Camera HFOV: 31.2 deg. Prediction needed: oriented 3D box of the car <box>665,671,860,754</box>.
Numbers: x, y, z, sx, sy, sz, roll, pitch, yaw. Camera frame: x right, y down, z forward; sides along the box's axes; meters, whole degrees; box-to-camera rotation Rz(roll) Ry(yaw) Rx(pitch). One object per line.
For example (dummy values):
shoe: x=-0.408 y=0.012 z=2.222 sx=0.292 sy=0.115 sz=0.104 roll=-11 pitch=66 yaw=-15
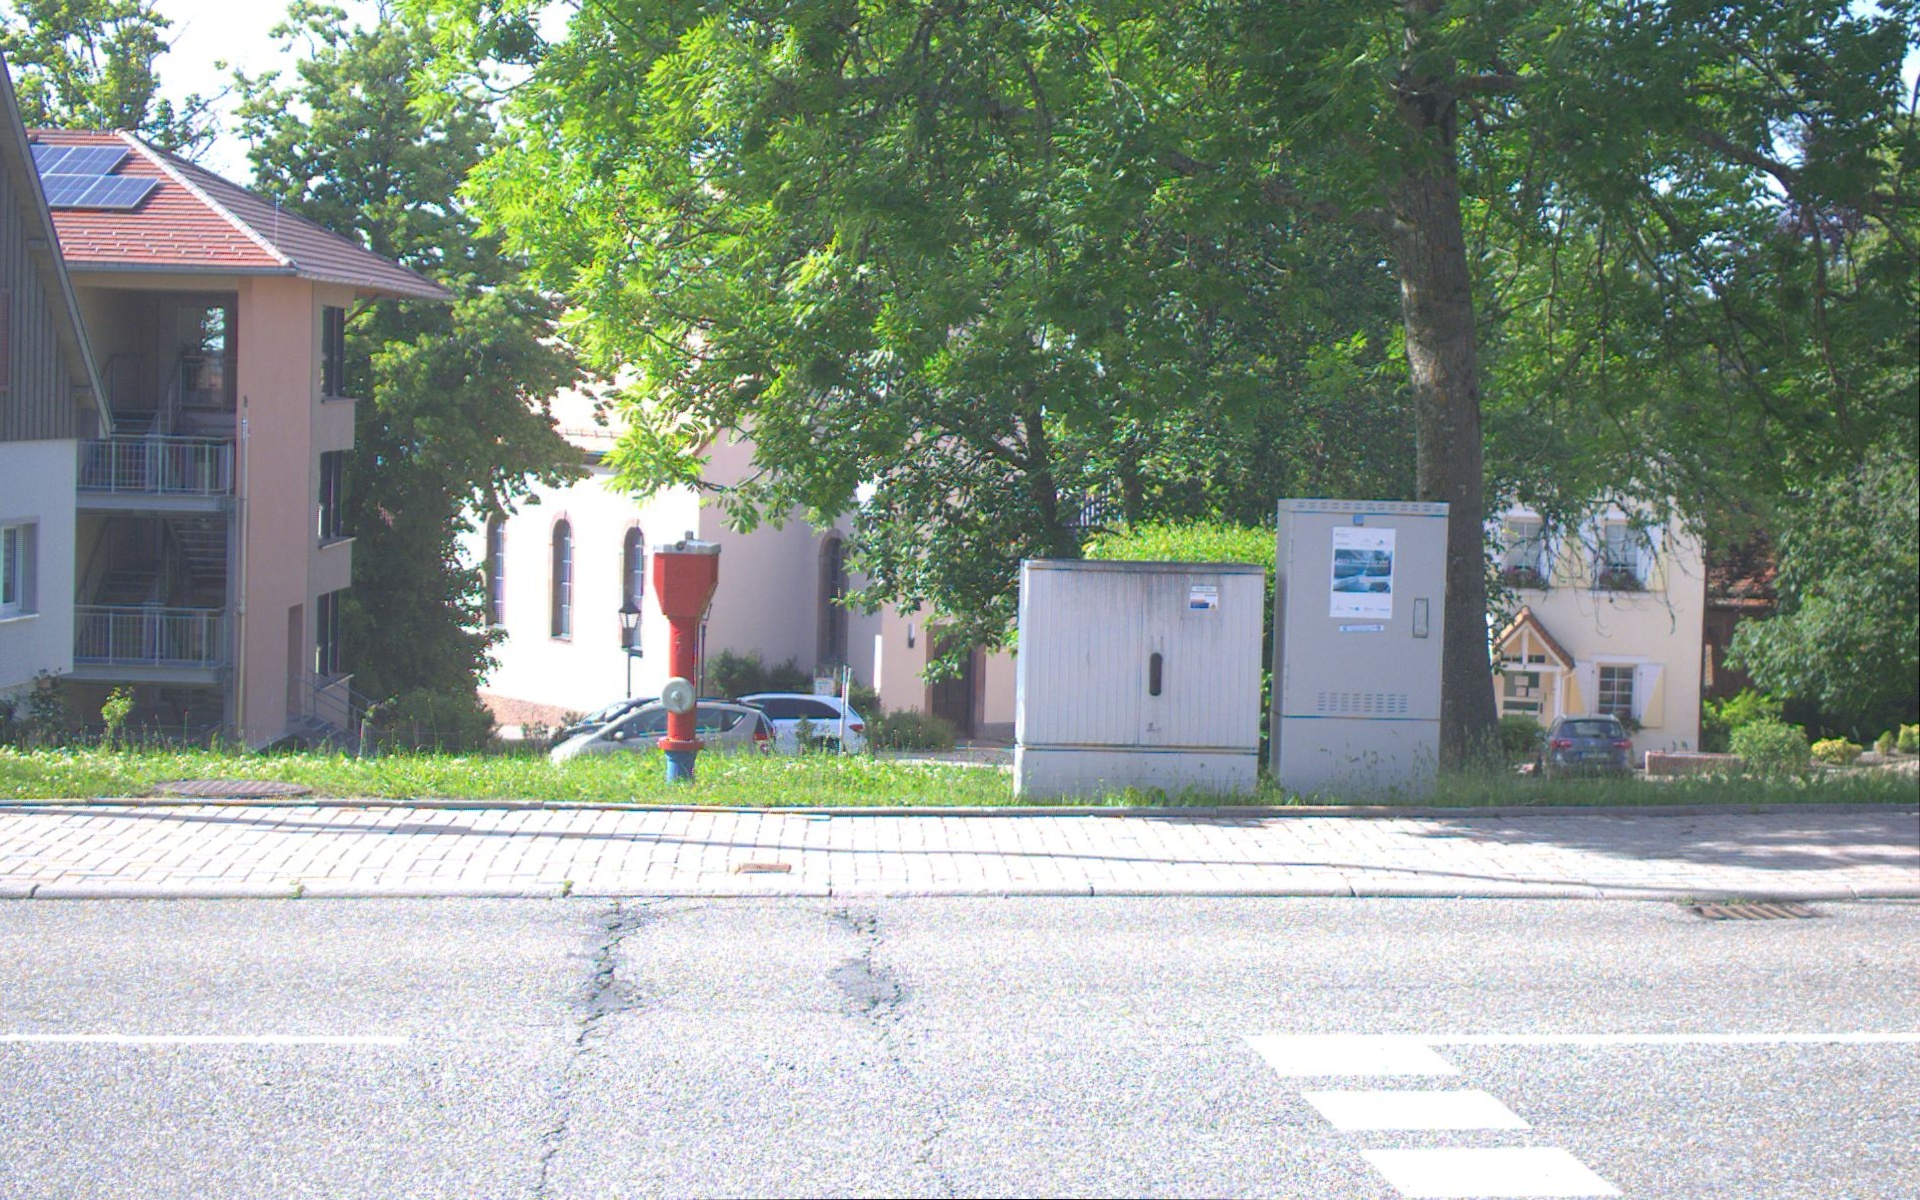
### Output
car: x=-3.936 y=2.226 z=68.236 sx=3.772 sy=1.588 sz=1.714 roll=0 pitch=0 yaw=-6

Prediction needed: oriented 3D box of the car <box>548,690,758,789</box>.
car: x=-5.650 y=2.550 z=63.206 sx=3.772 sy=1.752 sz=1.714 roll=0 pitch=0 yaw=-6

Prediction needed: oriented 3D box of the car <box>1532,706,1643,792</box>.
car: x=12.331 y=2.909 z=67.701 sx=1.708 sy=1.536 sz=3.785 roll=0 pitch=0 yaw=3

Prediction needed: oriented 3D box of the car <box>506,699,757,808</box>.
car: x=-5.467 y=2.549 z=57.354 sx=4.089 sy=1.752 sz=1.714 roll=0 pitch=0 yaw=-5
